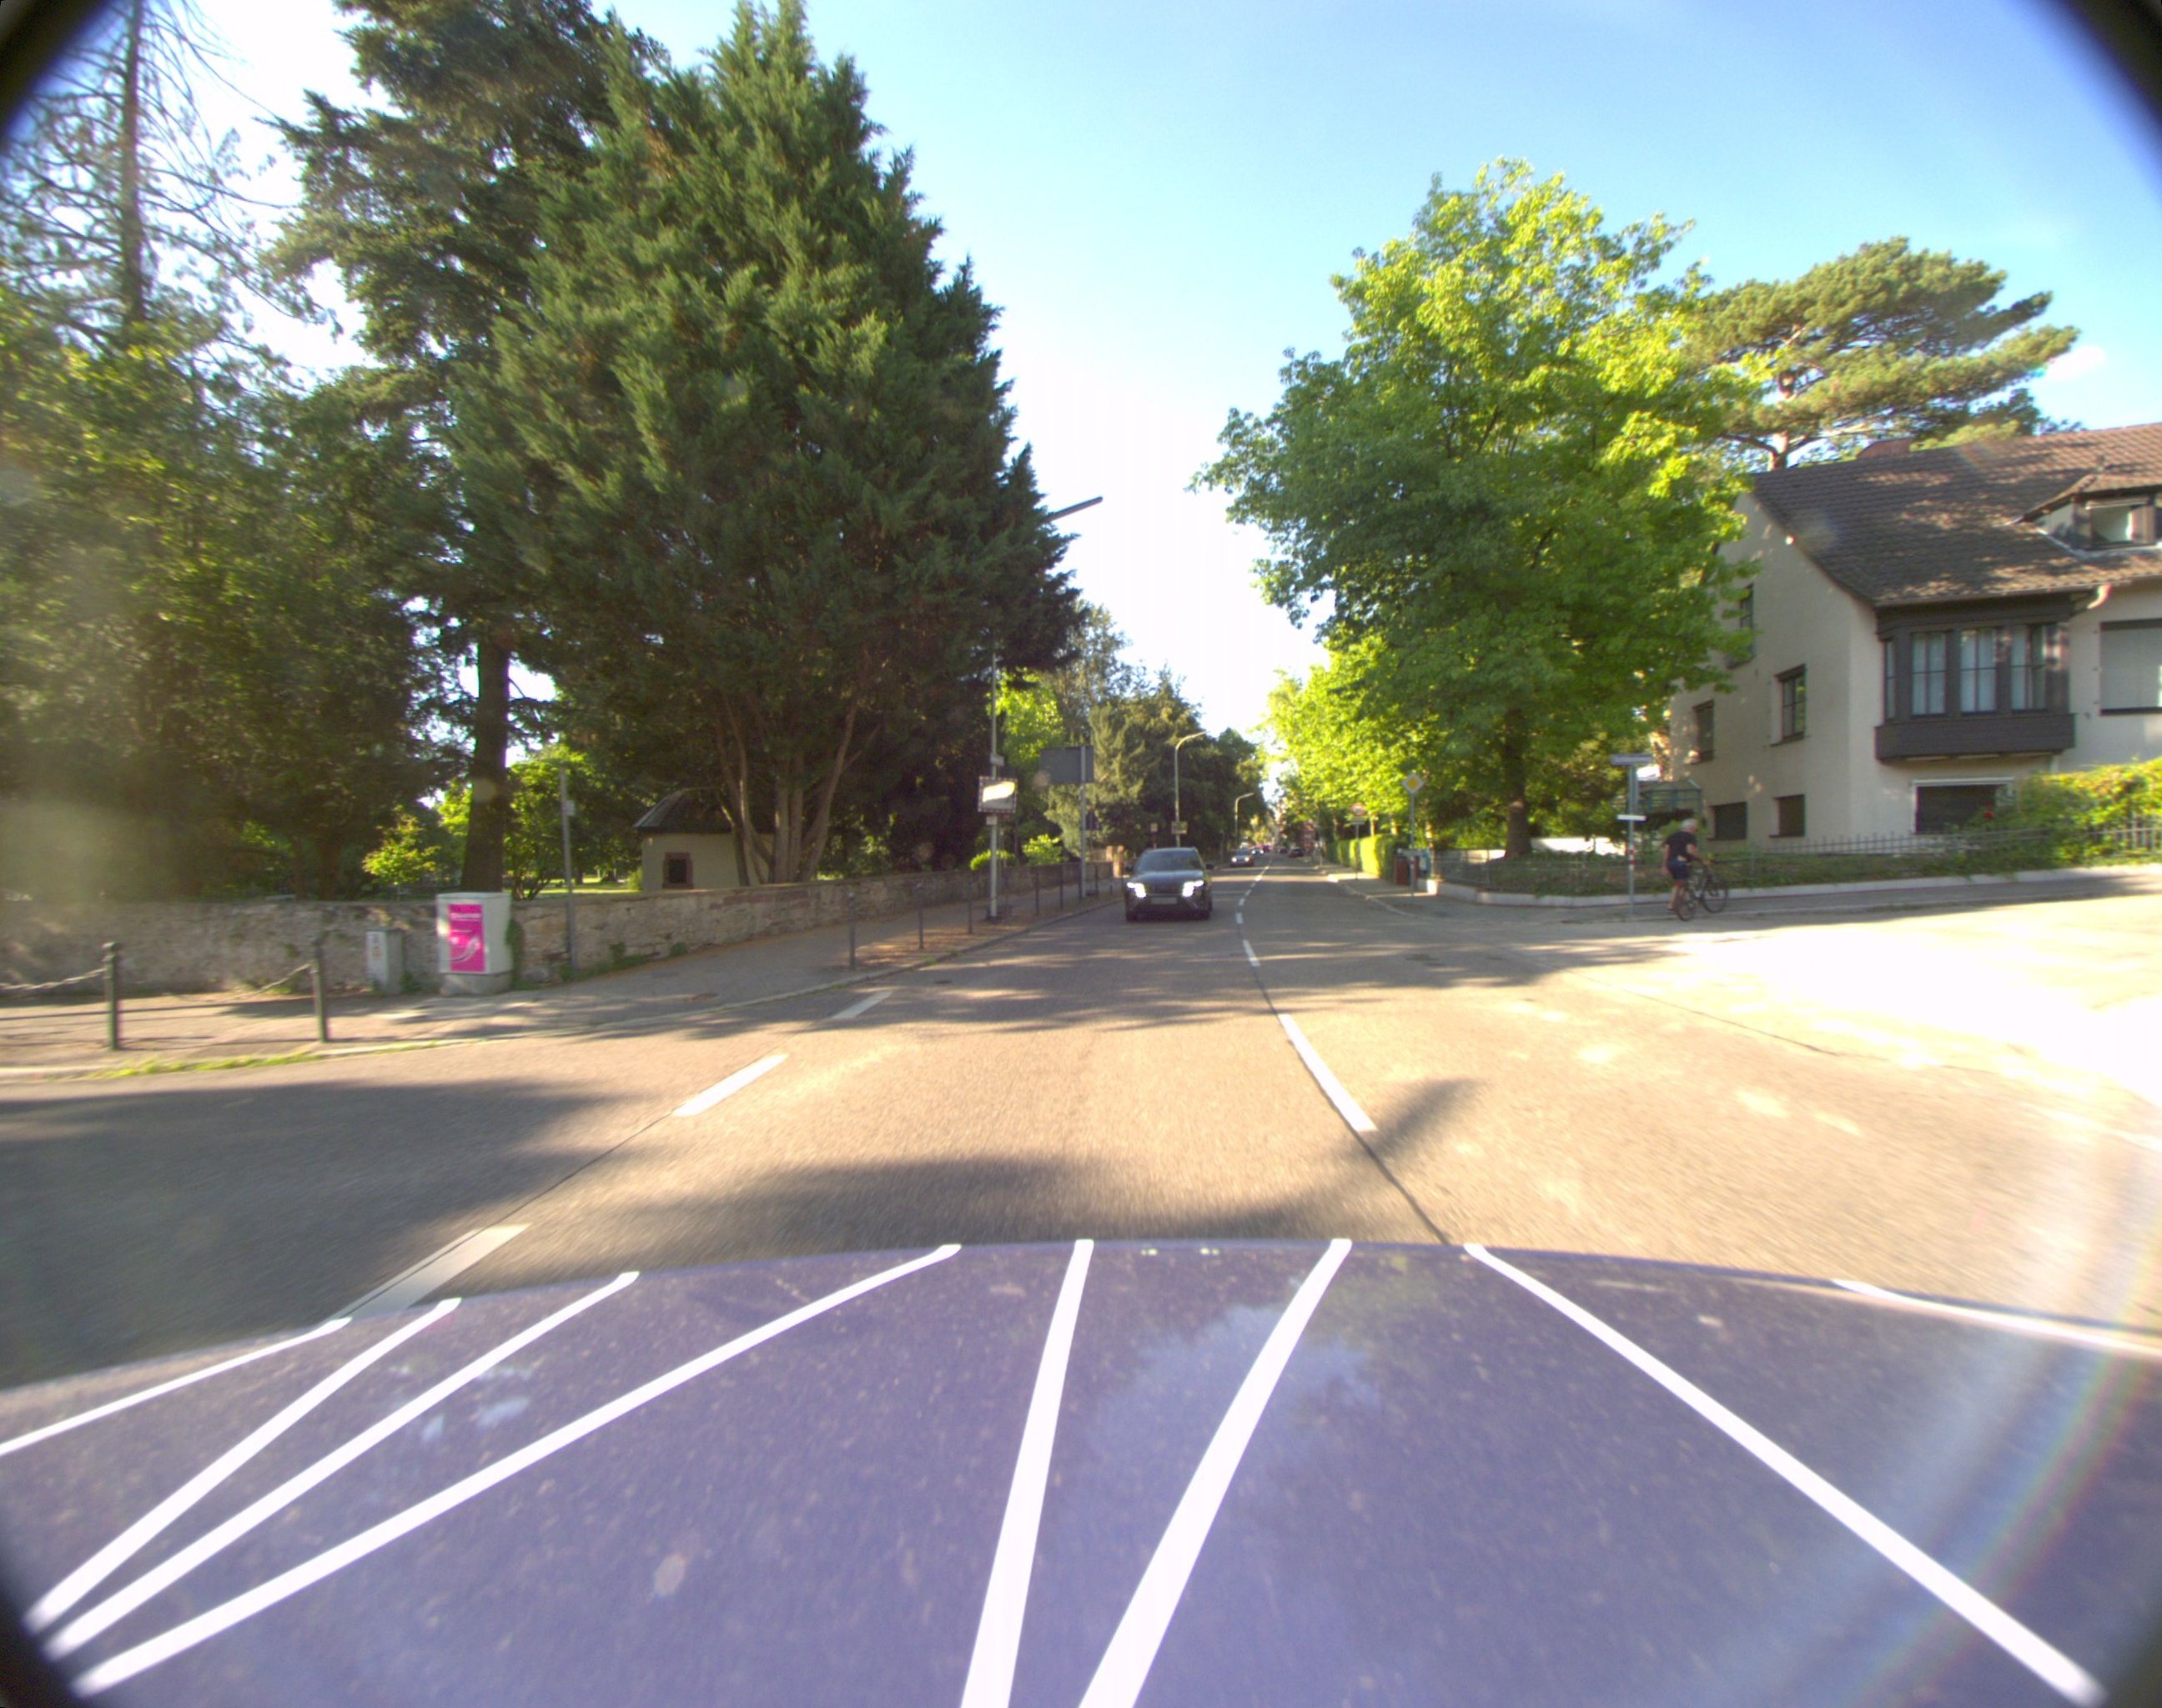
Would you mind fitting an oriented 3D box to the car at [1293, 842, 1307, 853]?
[{"bbox_3d":[31.564,-0.879,109.518,1.688,1.425,3.619,-4,0,13],"label":"car"}]

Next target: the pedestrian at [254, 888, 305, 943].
[{"bbox_3d":[-22.008,1.676,20.872,0.601,1.443,0.675,-3,1,11],"label":"pedestrian"}]

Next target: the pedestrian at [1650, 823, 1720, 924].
[{"bbox_3d":[11.345,0.354,14.277,0.944,1.815,0.553,-3,-1,-23],"label":"pedestrian"}]

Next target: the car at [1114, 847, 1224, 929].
[{"bbox_3d":[2.229,0.694,18.035,1.934,1.676,4.437,-1,0,15],"label":"car"}]

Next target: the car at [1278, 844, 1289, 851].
[{"bbox_3d":[44.028,-1.419,165.090,1.822,1.375,3.938,2,2,10],"label":"car"}]

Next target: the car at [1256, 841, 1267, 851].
[{"bbox_3d":[37.560,-1.625,158.255,1.997,2.002,4.003,-2,0,12],"label":"car"}]

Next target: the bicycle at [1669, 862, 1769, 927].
[{"bbox_3d":[11.519,0.717,13.720,1.819,1.037,0.561,-3,-1,-22],"label":"bicycle"}]

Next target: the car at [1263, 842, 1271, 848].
[{"bbox_3d":[51.663,-2.510,210.907,1.822,1.375,3.938,2,2,10],"label":"car"}]

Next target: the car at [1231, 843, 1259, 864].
[{"bbox_3d":[14.017,-0.062,64.929,1.996,1.630,4.004,-3,0,16],"label":"car"}]
